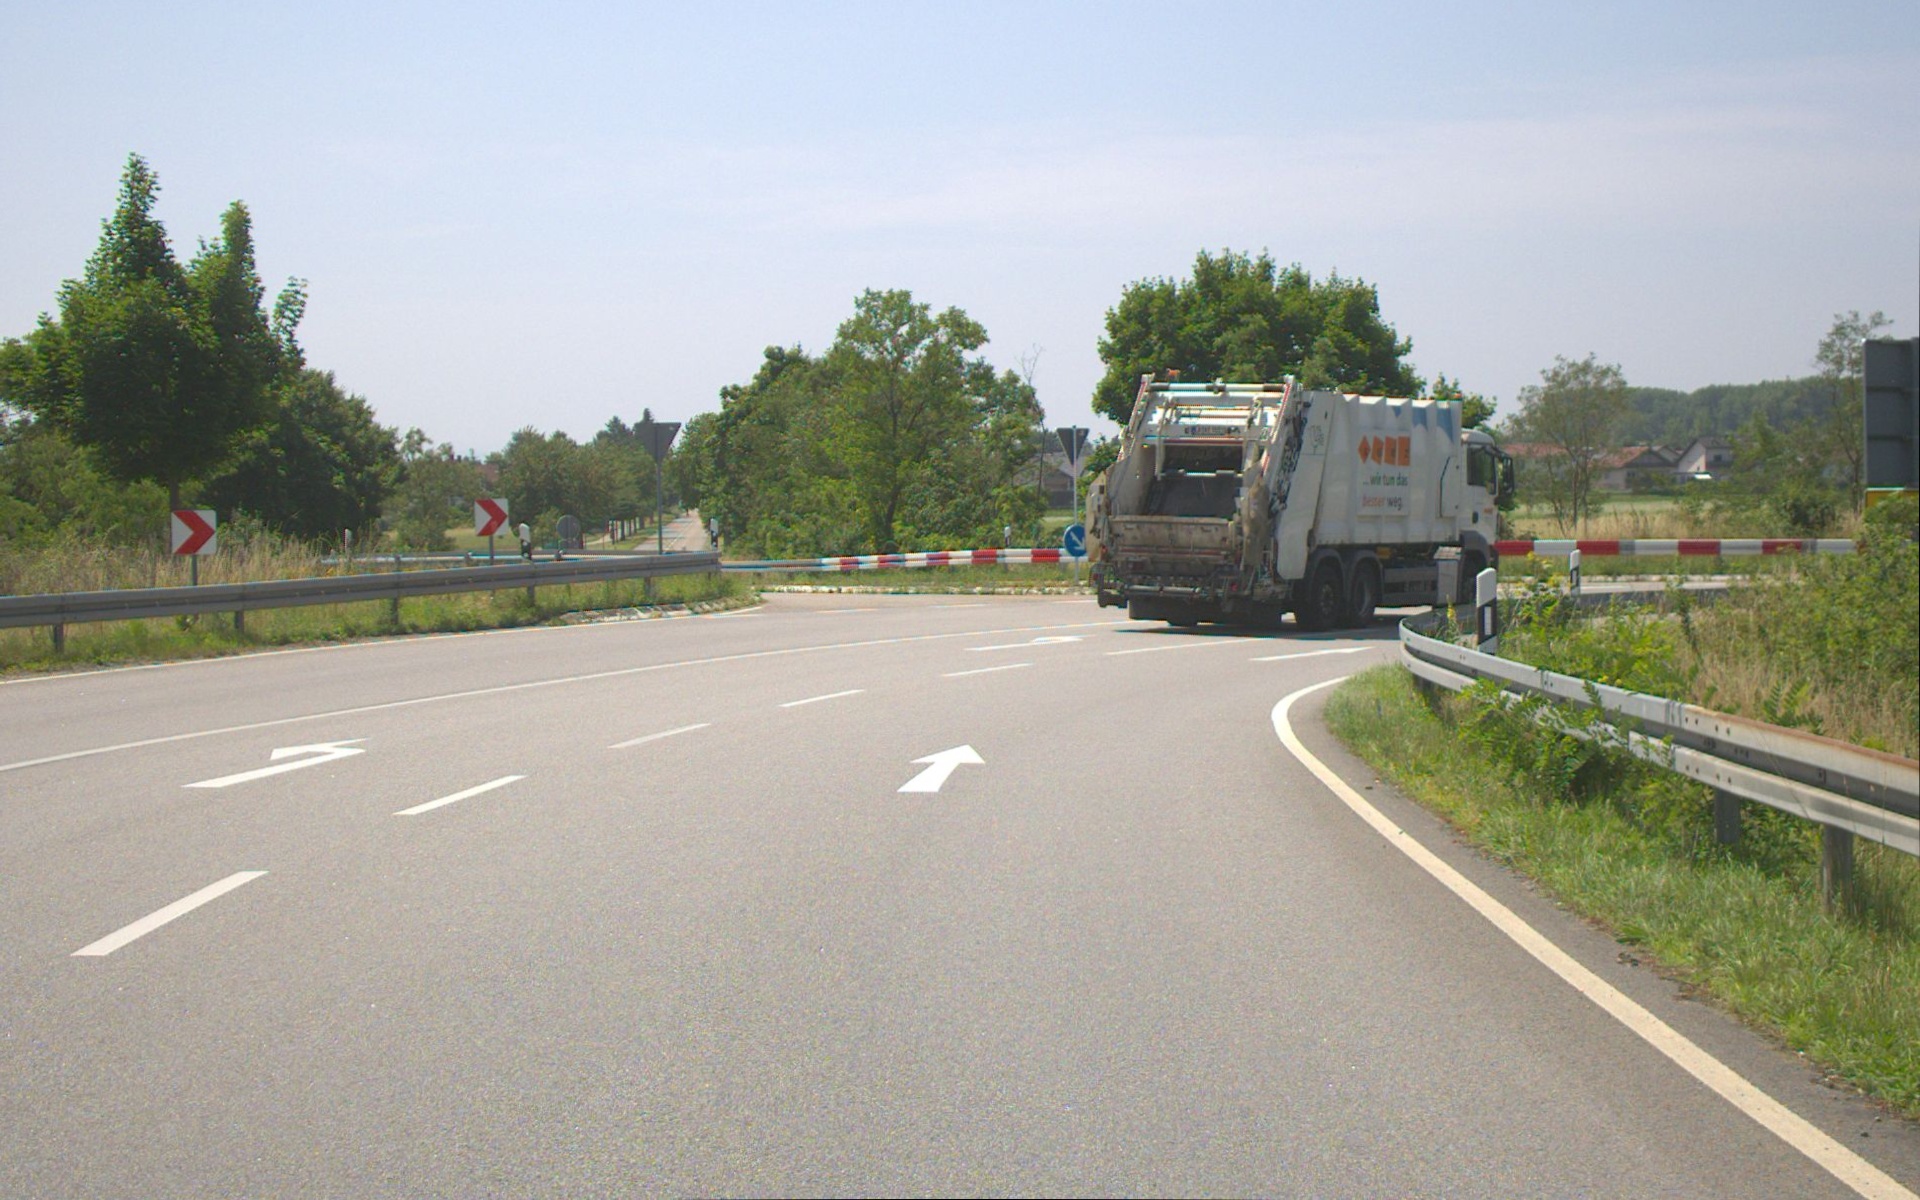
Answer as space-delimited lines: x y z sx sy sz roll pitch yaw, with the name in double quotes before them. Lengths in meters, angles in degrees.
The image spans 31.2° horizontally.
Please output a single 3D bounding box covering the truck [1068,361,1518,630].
"truck" 5.251 -1.505 51.786 2.818 3.656 9.931 1 1 30
